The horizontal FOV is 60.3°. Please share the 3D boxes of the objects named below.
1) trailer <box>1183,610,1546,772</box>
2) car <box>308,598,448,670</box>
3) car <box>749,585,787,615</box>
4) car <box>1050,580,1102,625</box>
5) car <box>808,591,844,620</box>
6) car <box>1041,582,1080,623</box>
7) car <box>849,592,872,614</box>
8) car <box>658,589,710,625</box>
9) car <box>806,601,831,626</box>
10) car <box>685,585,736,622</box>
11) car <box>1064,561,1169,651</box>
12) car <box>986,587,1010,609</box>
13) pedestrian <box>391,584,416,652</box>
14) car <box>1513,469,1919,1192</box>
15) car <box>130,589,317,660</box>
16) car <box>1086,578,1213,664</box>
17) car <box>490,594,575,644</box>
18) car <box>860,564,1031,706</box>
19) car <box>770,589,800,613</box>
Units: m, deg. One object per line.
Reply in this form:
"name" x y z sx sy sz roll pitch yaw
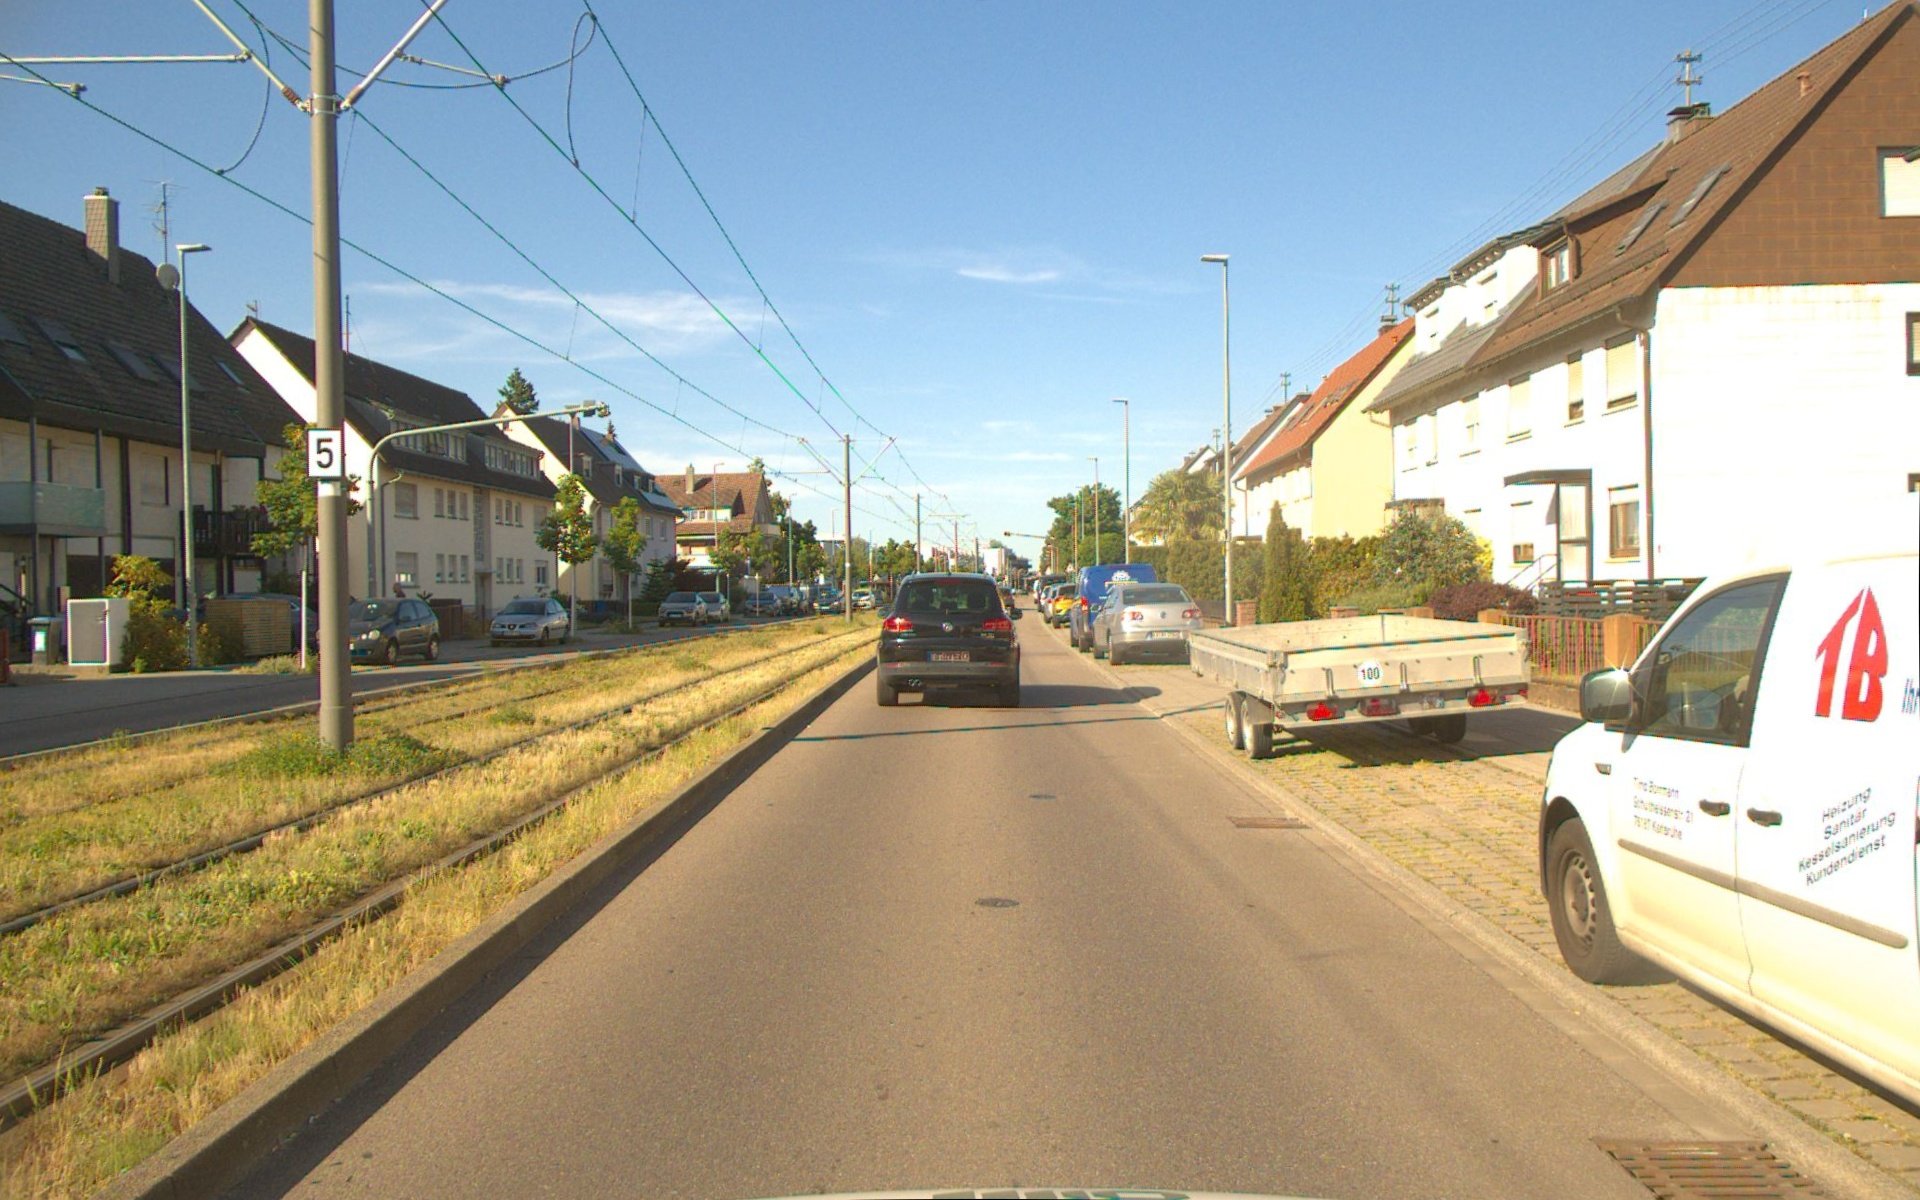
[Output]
"trailer" 3.462 0.724 15.114 2.159 1.113 4.371 -3 0 -1
"car" -13.164 0.731 37.649 1.584 1.478 3.720 -1 1 5
"car" -11.091 0.045 95.734 1.626 1.609 4.000 -1 -1 0
"car" 4.179 0.075 60.206 1.611 1.561 3.864 -1 0 0
"car" -8.377 0.339 103.554 1.835 1.684 3.999 -1 -1 0
"car" 4.086 0.084 67.660 1.421 1.579 3.830 -1 0 1
"car" -7.092 0.214 118.030 1.435 1.479 3.287 -1 0 0
"car" -12.240 0.273 73.540 1.625 1.523 3.580 -1 0 0
"car" -10.124 0.948 118.689 1.435 1.706 3.287 -1 0 0
"car" -11.986 0.152 79.699 1.766 1.660 4.000 -1 1 0
"car" 3.535 0.114 38.257 1.953 1.894 4.917 -1 0 0
"car" 2.526 -0.134 110.547 1.540 1.415 3.614 -1 0 0
"pedestrian" -14.789 0.472 43.945 0.459 1.776 0.536 -1 0 -1
"car" 3.219 0.553 4.827 1.655 1.807 4.656 -1 1 0
"car" -18.131 0.578 40.866 3.828 1.595 1.732 -2 0 -8
"car" 3.574 0.356 31.884 1.750 1.466 4.458 -3 0 -2
"car" -12.974 0.601 50.399 1.585 1.433 3.717 -1 -1 0
"car" -0.295 0.424 22.073 1.777 1.700 4.251 1 0 -7
"car" -10.752 0.031 101.684 1.484 1.385 3.590 -1 1 -1
